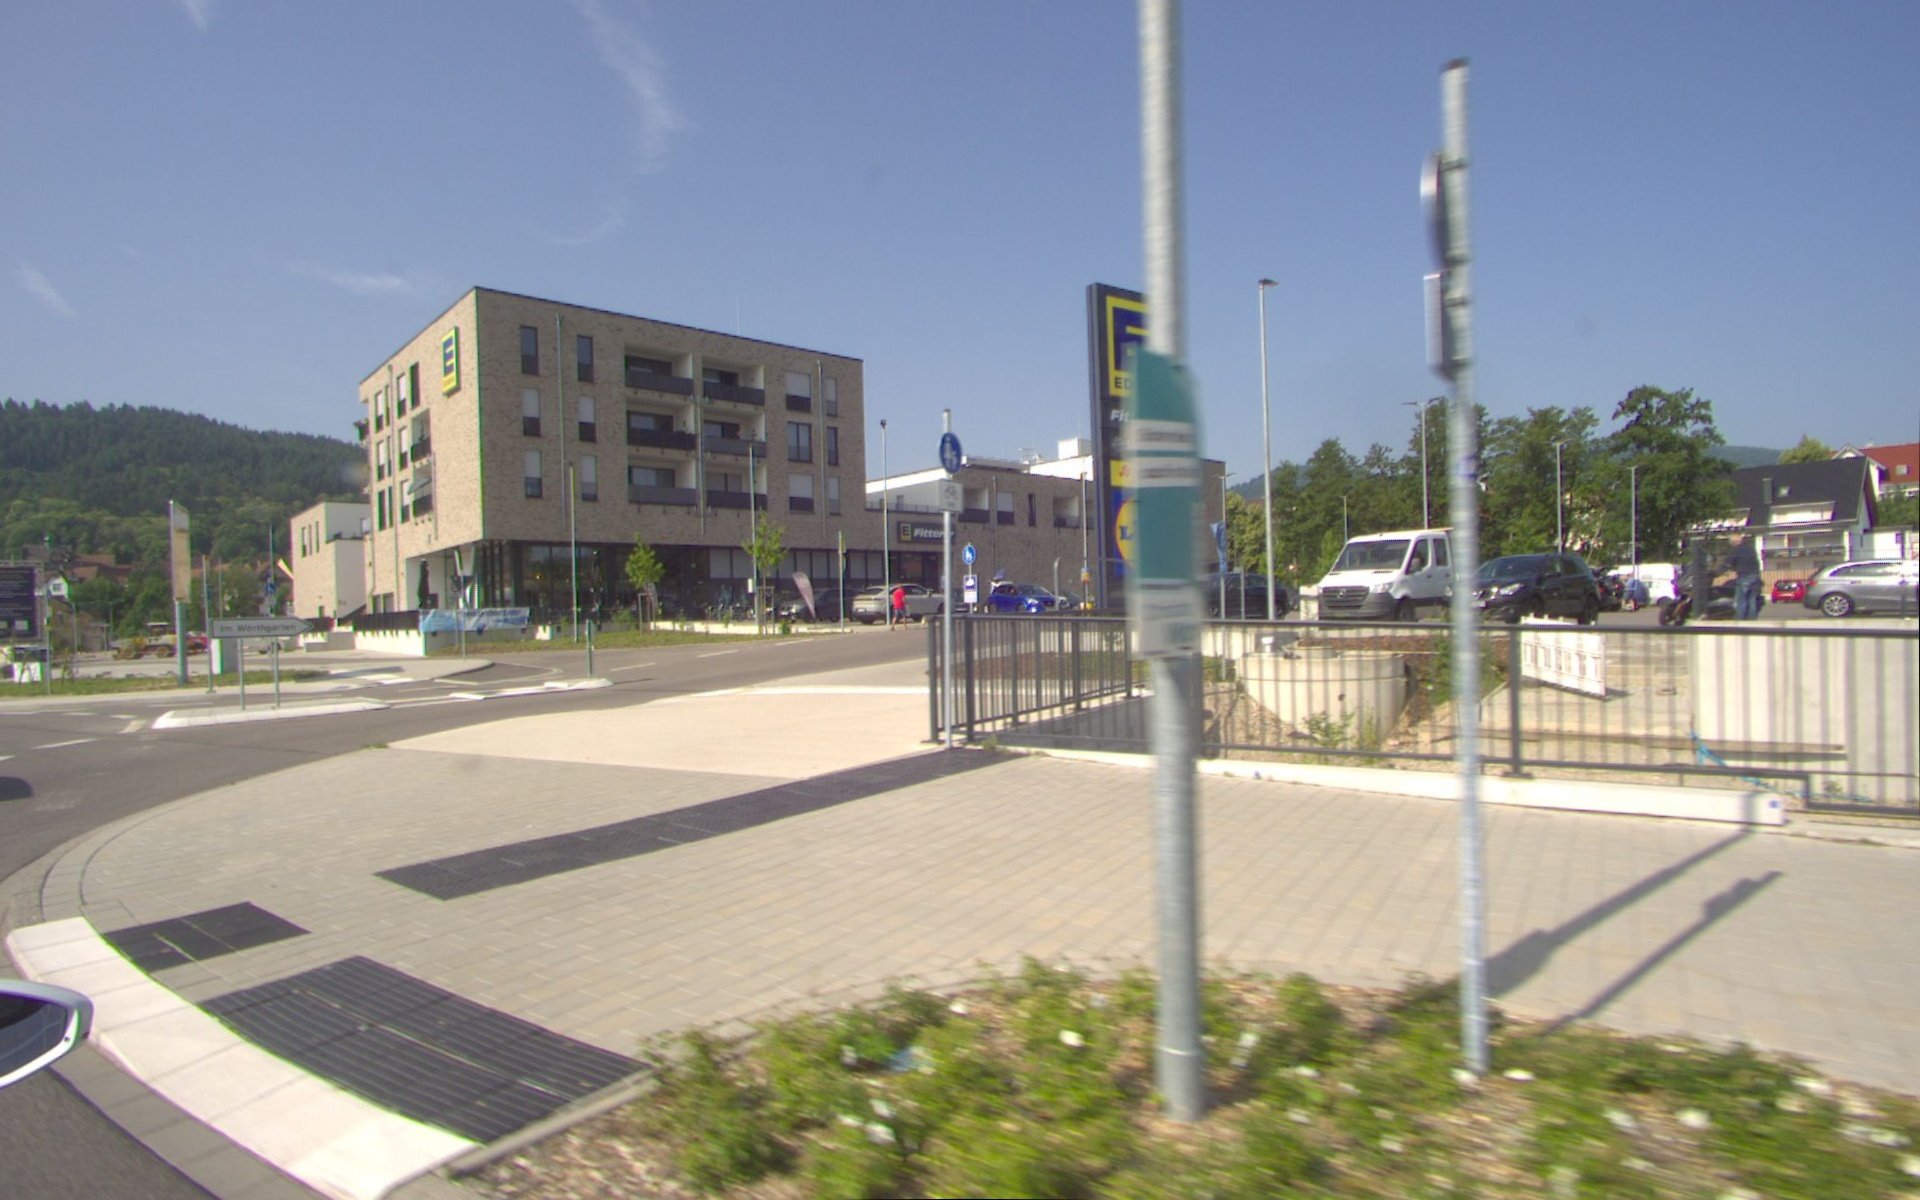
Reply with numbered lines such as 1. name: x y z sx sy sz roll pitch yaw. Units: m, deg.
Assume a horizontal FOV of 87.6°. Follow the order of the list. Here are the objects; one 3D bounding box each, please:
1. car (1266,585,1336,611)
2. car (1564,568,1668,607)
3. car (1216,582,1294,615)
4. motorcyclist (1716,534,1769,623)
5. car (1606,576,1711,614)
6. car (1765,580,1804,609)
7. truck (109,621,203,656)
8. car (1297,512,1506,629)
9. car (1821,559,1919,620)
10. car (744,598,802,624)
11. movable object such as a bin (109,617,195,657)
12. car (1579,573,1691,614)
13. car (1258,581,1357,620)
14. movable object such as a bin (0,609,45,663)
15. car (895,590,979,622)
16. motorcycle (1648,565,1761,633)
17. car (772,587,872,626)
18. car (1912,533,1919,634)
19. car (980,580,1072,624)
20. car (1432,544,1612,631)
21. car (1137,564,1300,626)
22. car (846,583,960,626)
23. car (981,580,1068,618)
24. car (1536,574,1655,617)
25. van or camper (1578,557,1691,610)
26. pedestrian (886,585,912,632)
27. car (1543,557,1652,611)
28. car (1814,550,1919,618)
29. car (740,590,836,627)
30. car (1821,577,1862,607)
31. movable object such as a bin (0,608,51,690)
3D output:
1. car: 21.027 -0.100 61.827 3.767 1.490 1.760 -1 -3 39
2. car: 37.198 -0.656 56.840 1.979 2.001 4.608 2 -3 -40
3. car: 17.217 -0.040 58.447 3.952 1.763 1.921 -1 -3 39
4. motorcyclist: 14.051 -0.378 17.992 0.571 1.562 0.514 0 -1 12
5. car: 32.917 -0.207 47.265 1.744 1.594 3.756 2 -3 -40
6. car: 51.745 -0.326 62.818 1.694 1.594 3.755 -1 -3 43
7. truck: -61.843 2.938 77.172 5.255 2.295 2.207 -3 0 -31
8. car: 10.745 -0.556 24.134 6.021 2.413 2.045 2 -2 -38
9. car: 26.456 -0.292 27.732 1.648 1.594 3.756 2 -3 -40
10. car: -10.356 0.612 55.473 3.296 1.368 1.479 -2 -3 42
11. movable object such as a bin: -59.832 2.731 74.249 4.561 2.603 1.915 -3 0 -32
12. car: 29.433 -0.233 43.751 1.744 1.594 3.756 2 -3 -40
13. car: 14.178 0.057 40.972 1.509 1.463 3.603 2 -3 -39
14. movable object such as a bin: -68.041 2.529 70.925 2.812 3.667 5.721 1 -2 -22
15. car: -1.193 0.308 50.795 4.181 1.411 1.630 -3 1 40
16. motorcycle: 13.473 -0.003 18.130 1.868 1.206 0.590 0 0 -14
17. car: -6.437 0.272 47.099 4.414 1.577 1.839 -4 4 -44
18. car: 15.059 -0.338 14.111 1.755 1.594 4.000 -1 -3 35
19. car: 2.807 0.103 43.583 1.858 1.686 4.332 -5 2 -29
20. car: 12.160 -0.181 21.561 4.425 1.622 1.819 2 -3 -38
21. car: 7.420 -0.063 28.560 4.801 1.549 1.909 2 -2 -36
22. car: -2.412 0.138 43.025 4.768 1.577 1.841 -4 3 -42
23. car: 3.409 -0.012 53.470 1.979 1.904 4.538 0 -1 -42
24. car: 25.776 -0.144 40.716 1.744 1.594 3.756 2 -3 -40
25. van or camper: 40.435 -0.946 60.133 2.271 2.883 5.241 2 -3 -40
26. pedestrian: -2.302 0.326 37.916 0.863 1.763 0.758 0 -1 4
27. car: 34.313 -0.820 54.025 1.979 2.650 4.608 2 -2 -40
28. car: 24.816 -0.396 25.925 1.981 1.638 3.962 2 -3 -43
29. car: -8.474 0.360 49.518 4.414 1.577 1.839 -4 4 -44
30. car: 52.604 -0.443 59.762 1.744 1.594 3.755 -1 -3 43
31. movable object such as a bin: -48.470 2.522 50.645 7.702 3.902 2.288 -3 -3 37
